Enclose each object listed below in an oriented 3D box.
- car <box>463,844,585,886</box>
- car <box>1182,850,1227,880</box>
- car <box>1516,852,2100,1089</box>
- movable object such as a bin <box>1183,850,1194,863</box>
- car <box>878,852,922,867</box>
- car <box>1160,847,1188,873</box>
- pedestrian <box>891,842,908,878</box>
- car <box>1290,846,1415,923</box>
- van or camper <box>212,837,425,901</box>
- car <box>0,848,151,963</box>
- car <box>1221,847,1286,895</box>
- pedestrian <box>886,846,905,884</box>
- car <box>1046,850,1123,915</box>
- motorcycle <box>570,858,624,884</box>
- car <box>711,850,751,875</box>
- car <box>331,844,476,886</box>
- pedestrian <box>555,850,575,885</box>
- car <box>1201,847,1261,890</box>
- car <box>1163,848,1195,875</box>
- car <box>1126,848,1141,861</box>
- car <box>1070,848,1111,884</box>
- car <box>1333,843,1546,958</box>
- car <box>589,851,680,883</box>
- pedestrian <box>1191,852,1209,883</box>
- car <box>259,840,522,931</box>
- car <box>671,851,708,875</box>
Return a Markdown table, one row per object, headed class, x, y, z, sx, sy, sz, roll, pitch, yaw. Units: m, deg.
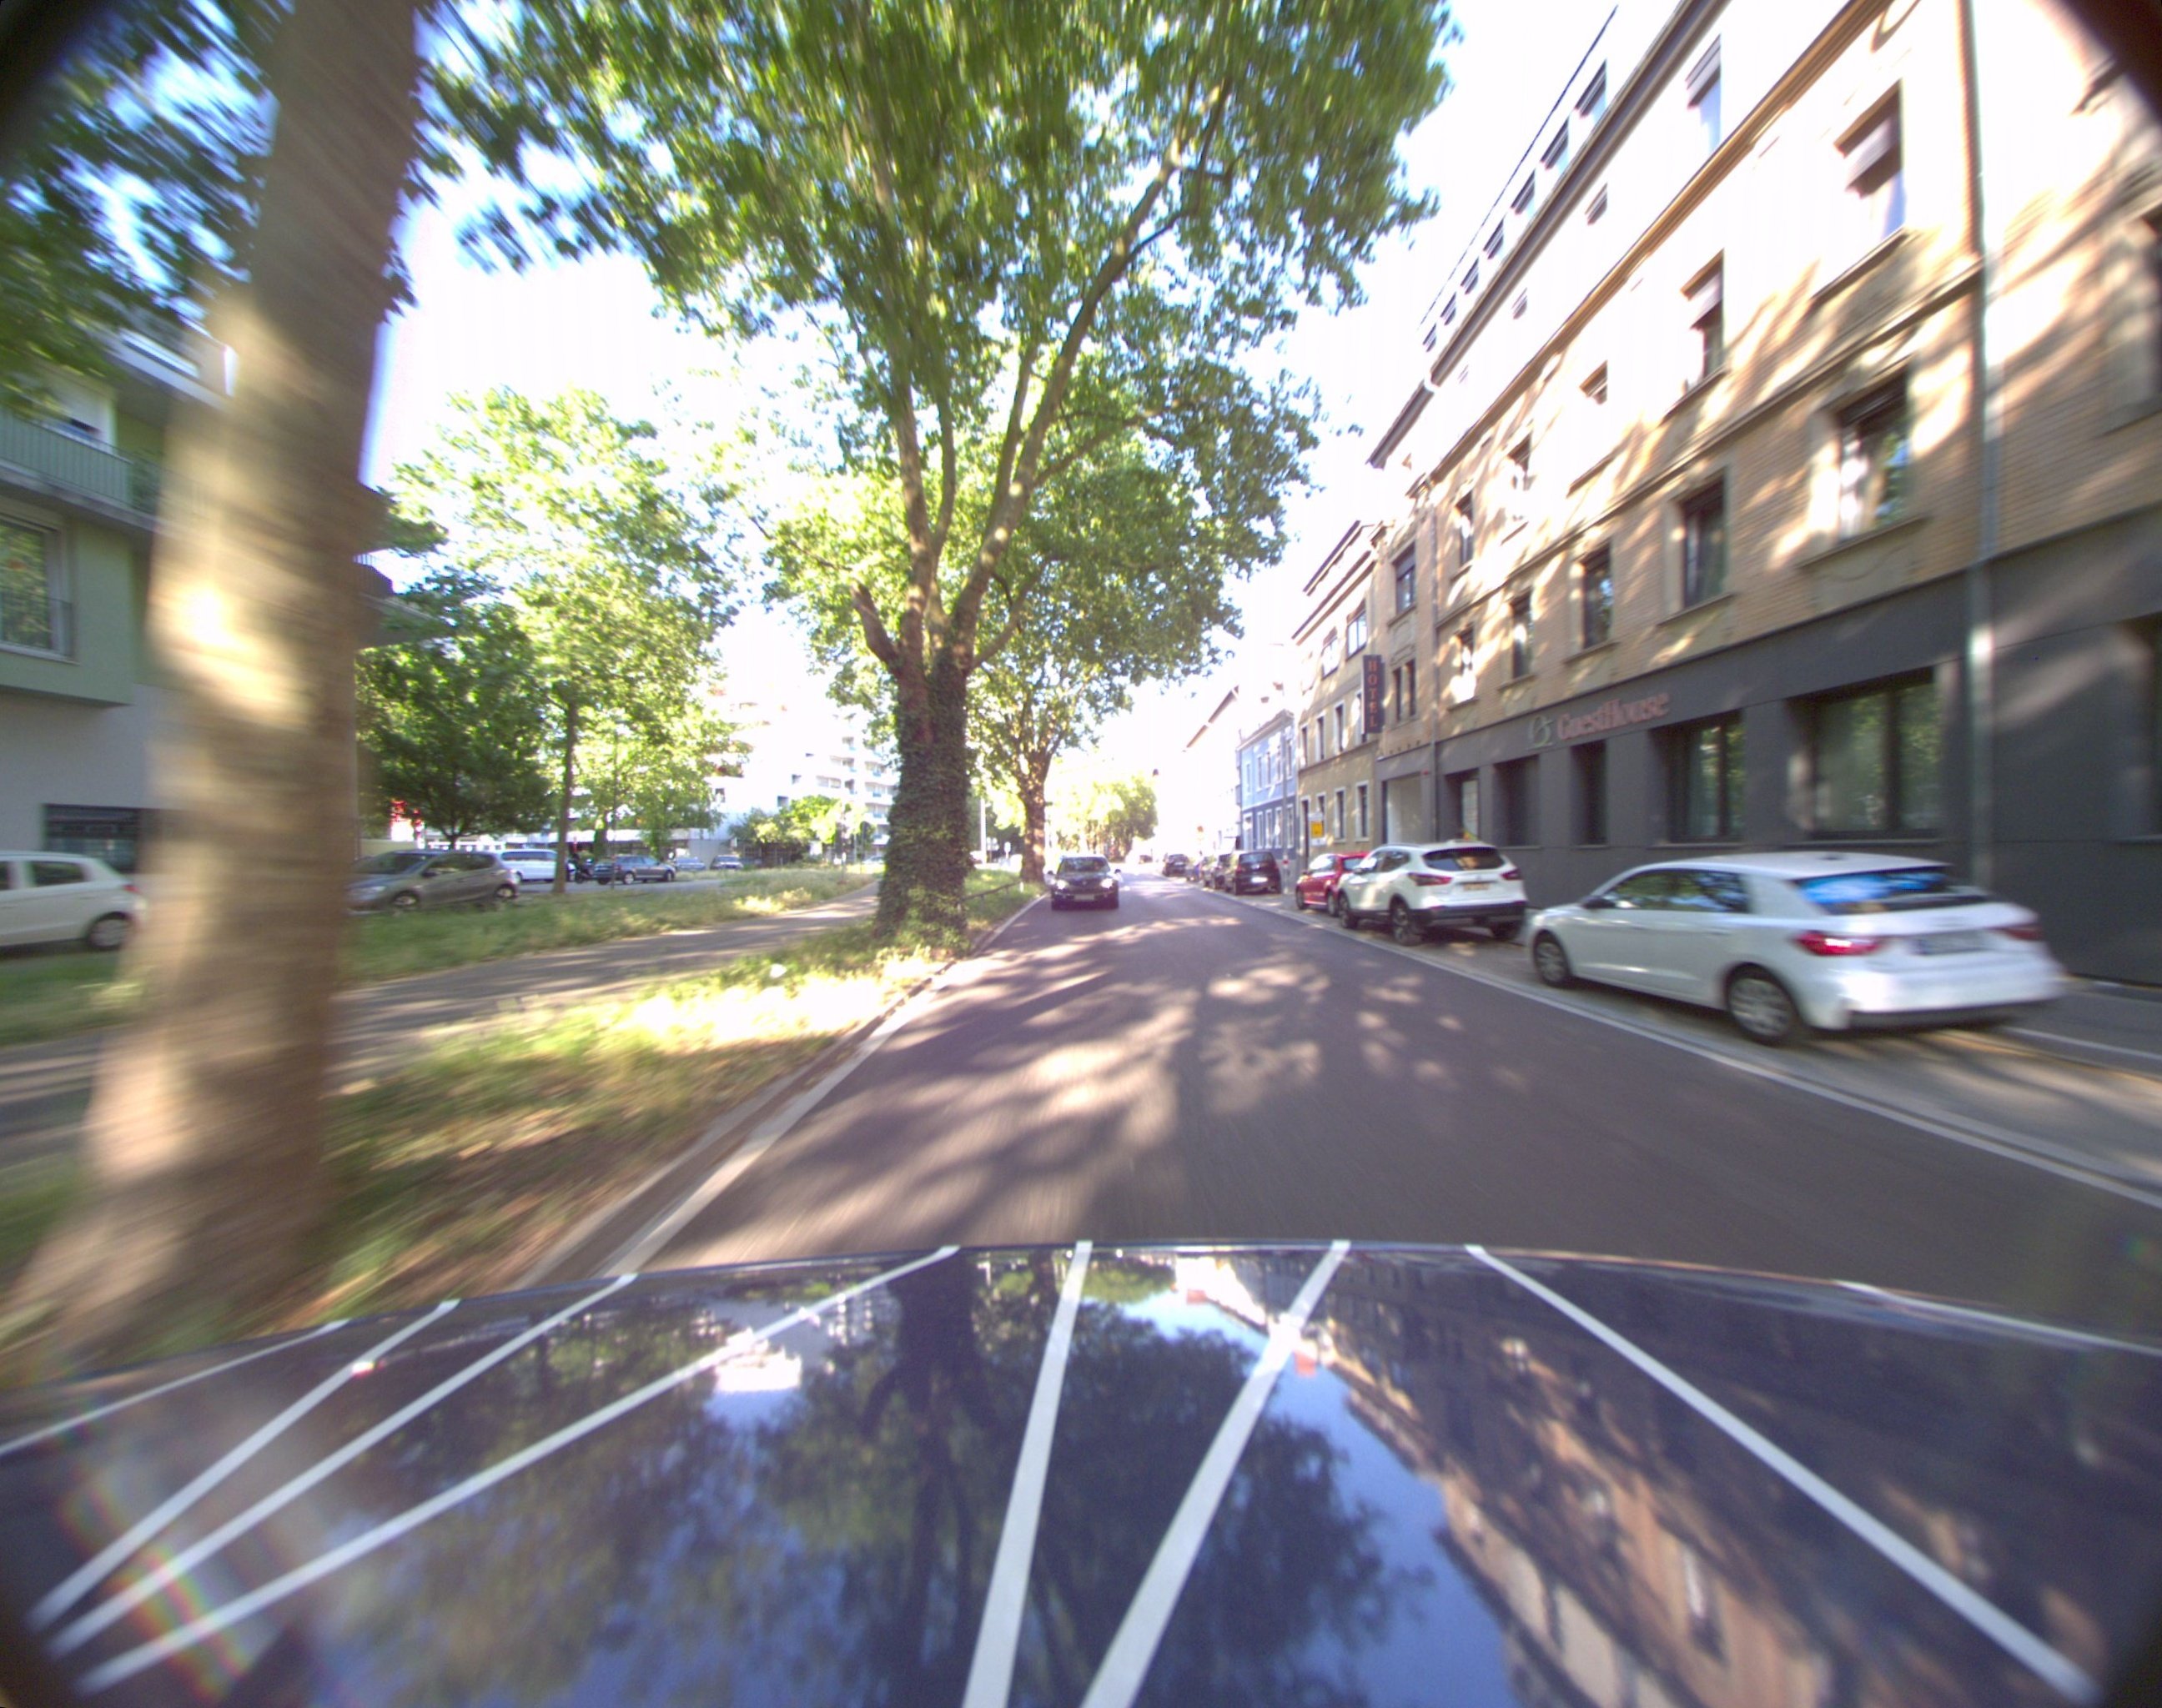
| class | x | y | z | sx | sy | sz | roll | pitch | yaw |
| --- | --- | --- | --- | --- | --- | --- | --- | --- | --- |
| car | -29.572 | 0.666 | 40.580 | 1.997 | 2.083 | 5.061 | -1 | -3 | 17 |
| car | 6.763 | 0.564 | 41.942 | 1.654 | 1.478 | 4.262 | -3 | 0 | -1 |
| car | 5.937 | 0.776 | 6.981 | 1.682 | 1.488 | 3.871 | -3 | 0 | 1 |
| movable object such as a bin | 10.798 | 0.272 | 76.337 | 1.033 | 1.278 | 1.063 | 0 | 1 | 12 |
| car | -19.303 | 0.618 | 81.137 | 4.212 | 1.502 | 1.797 | -1 | 1 | -28 |
| car | 7.028 | 0.421 | 57.671 | 1.668 | 1.808 | 4.005 | -3 | 0 | 2 |
| pedestrian | -9.428 | 0.300 | 39.524 | 0.785 | 1.869 | 0.803 | -1 | 1 | -9 |
| car | 6.366 | 0.638 | 18.224 | 1.682 | 1.583 | 3.756 | -3 | 0 | 1 |
| van or camper | -29.390 | 0.513 | 29.599 | 2.260 | 2.234 | 5.377 | 0 | 0 | 19 |
| car | -15.382 | 0.701 | 9.620 | 1.864 | 1.534 | 4.319 | -1 | 0 | 0 |
| car | 6.239 | 0.567 | 27.789 | 1.681 | 1.595 | 3.706 | -2 | 0 | 3 |
| pedestrian | -9.418 | 0.542 | 38.582 | 0.839 | 1.921 | 0.781 | -1 | 1 | -11 |
| car | 0.128 | 0.699 | 21.146 | 1.844 | 1.536 | 4.524 | -3 | 0 | 1 |
| motorcycle | -25.105 | 0.866 | 39.446 | 0.950 | 1.241 | 2.319 | -1 | 1 | 13 |
| car | -25.476 | 0.637 | 55.216 | 1.942 | 1.649 | 4.467 | 2 | -3 | -34 |
| car | -24.609 | 0.456 | 27.757 | 1.672 | 1.445 | 3.564 | -1 | -3 | 17 |
| pedestrian | -26.202 | 0.676 | 38.570 | 0.560 | 1.742 | 0.532 | -1 | 2 | 12 |
| car | 6.345 | 0.559 | 32.547 | 1.786 | 1.663 | 4.156 | -3 | 0 | 1 |
| car | 6.668 | 0.474 | 52.087 | 1.910 | 1.663 | 4.493 | -2 | 0 | 4 |
| car | 7.400 | 0.080 | 107.115 | 1.898 | 1.782 | 4.000 | 0 | 0 | 2 |
| car | 0.406 | 0.468 | 32.908 | 1.654 | 1.445 | 3.534 | -1 | 0 | 1 |
| car | 5.801 | 0.647 | 12.927 | 1.682 | 1.575 | 4.200 | -3 | 0 | 1 |
| car | -22.378 | 0.698 | 38.270 | 1.673 | 1.513 | 3.992 | -1 | -3 | 12 |
| pedestrian | 6.058 | 0.680 | 38.670 | 0.865 | 1.561 | 0.706 | -1 | 1 | 4 |
| car | -15.103 | 0.611 | 17.031 | 1.909 | 1.760 | 4.319 | -1 | 0 | 0 |
| car | -28.223 | 0.698 | 54.760 | 1.831 | 1.577 | 4.359 | 2 | -3 | -34 |
